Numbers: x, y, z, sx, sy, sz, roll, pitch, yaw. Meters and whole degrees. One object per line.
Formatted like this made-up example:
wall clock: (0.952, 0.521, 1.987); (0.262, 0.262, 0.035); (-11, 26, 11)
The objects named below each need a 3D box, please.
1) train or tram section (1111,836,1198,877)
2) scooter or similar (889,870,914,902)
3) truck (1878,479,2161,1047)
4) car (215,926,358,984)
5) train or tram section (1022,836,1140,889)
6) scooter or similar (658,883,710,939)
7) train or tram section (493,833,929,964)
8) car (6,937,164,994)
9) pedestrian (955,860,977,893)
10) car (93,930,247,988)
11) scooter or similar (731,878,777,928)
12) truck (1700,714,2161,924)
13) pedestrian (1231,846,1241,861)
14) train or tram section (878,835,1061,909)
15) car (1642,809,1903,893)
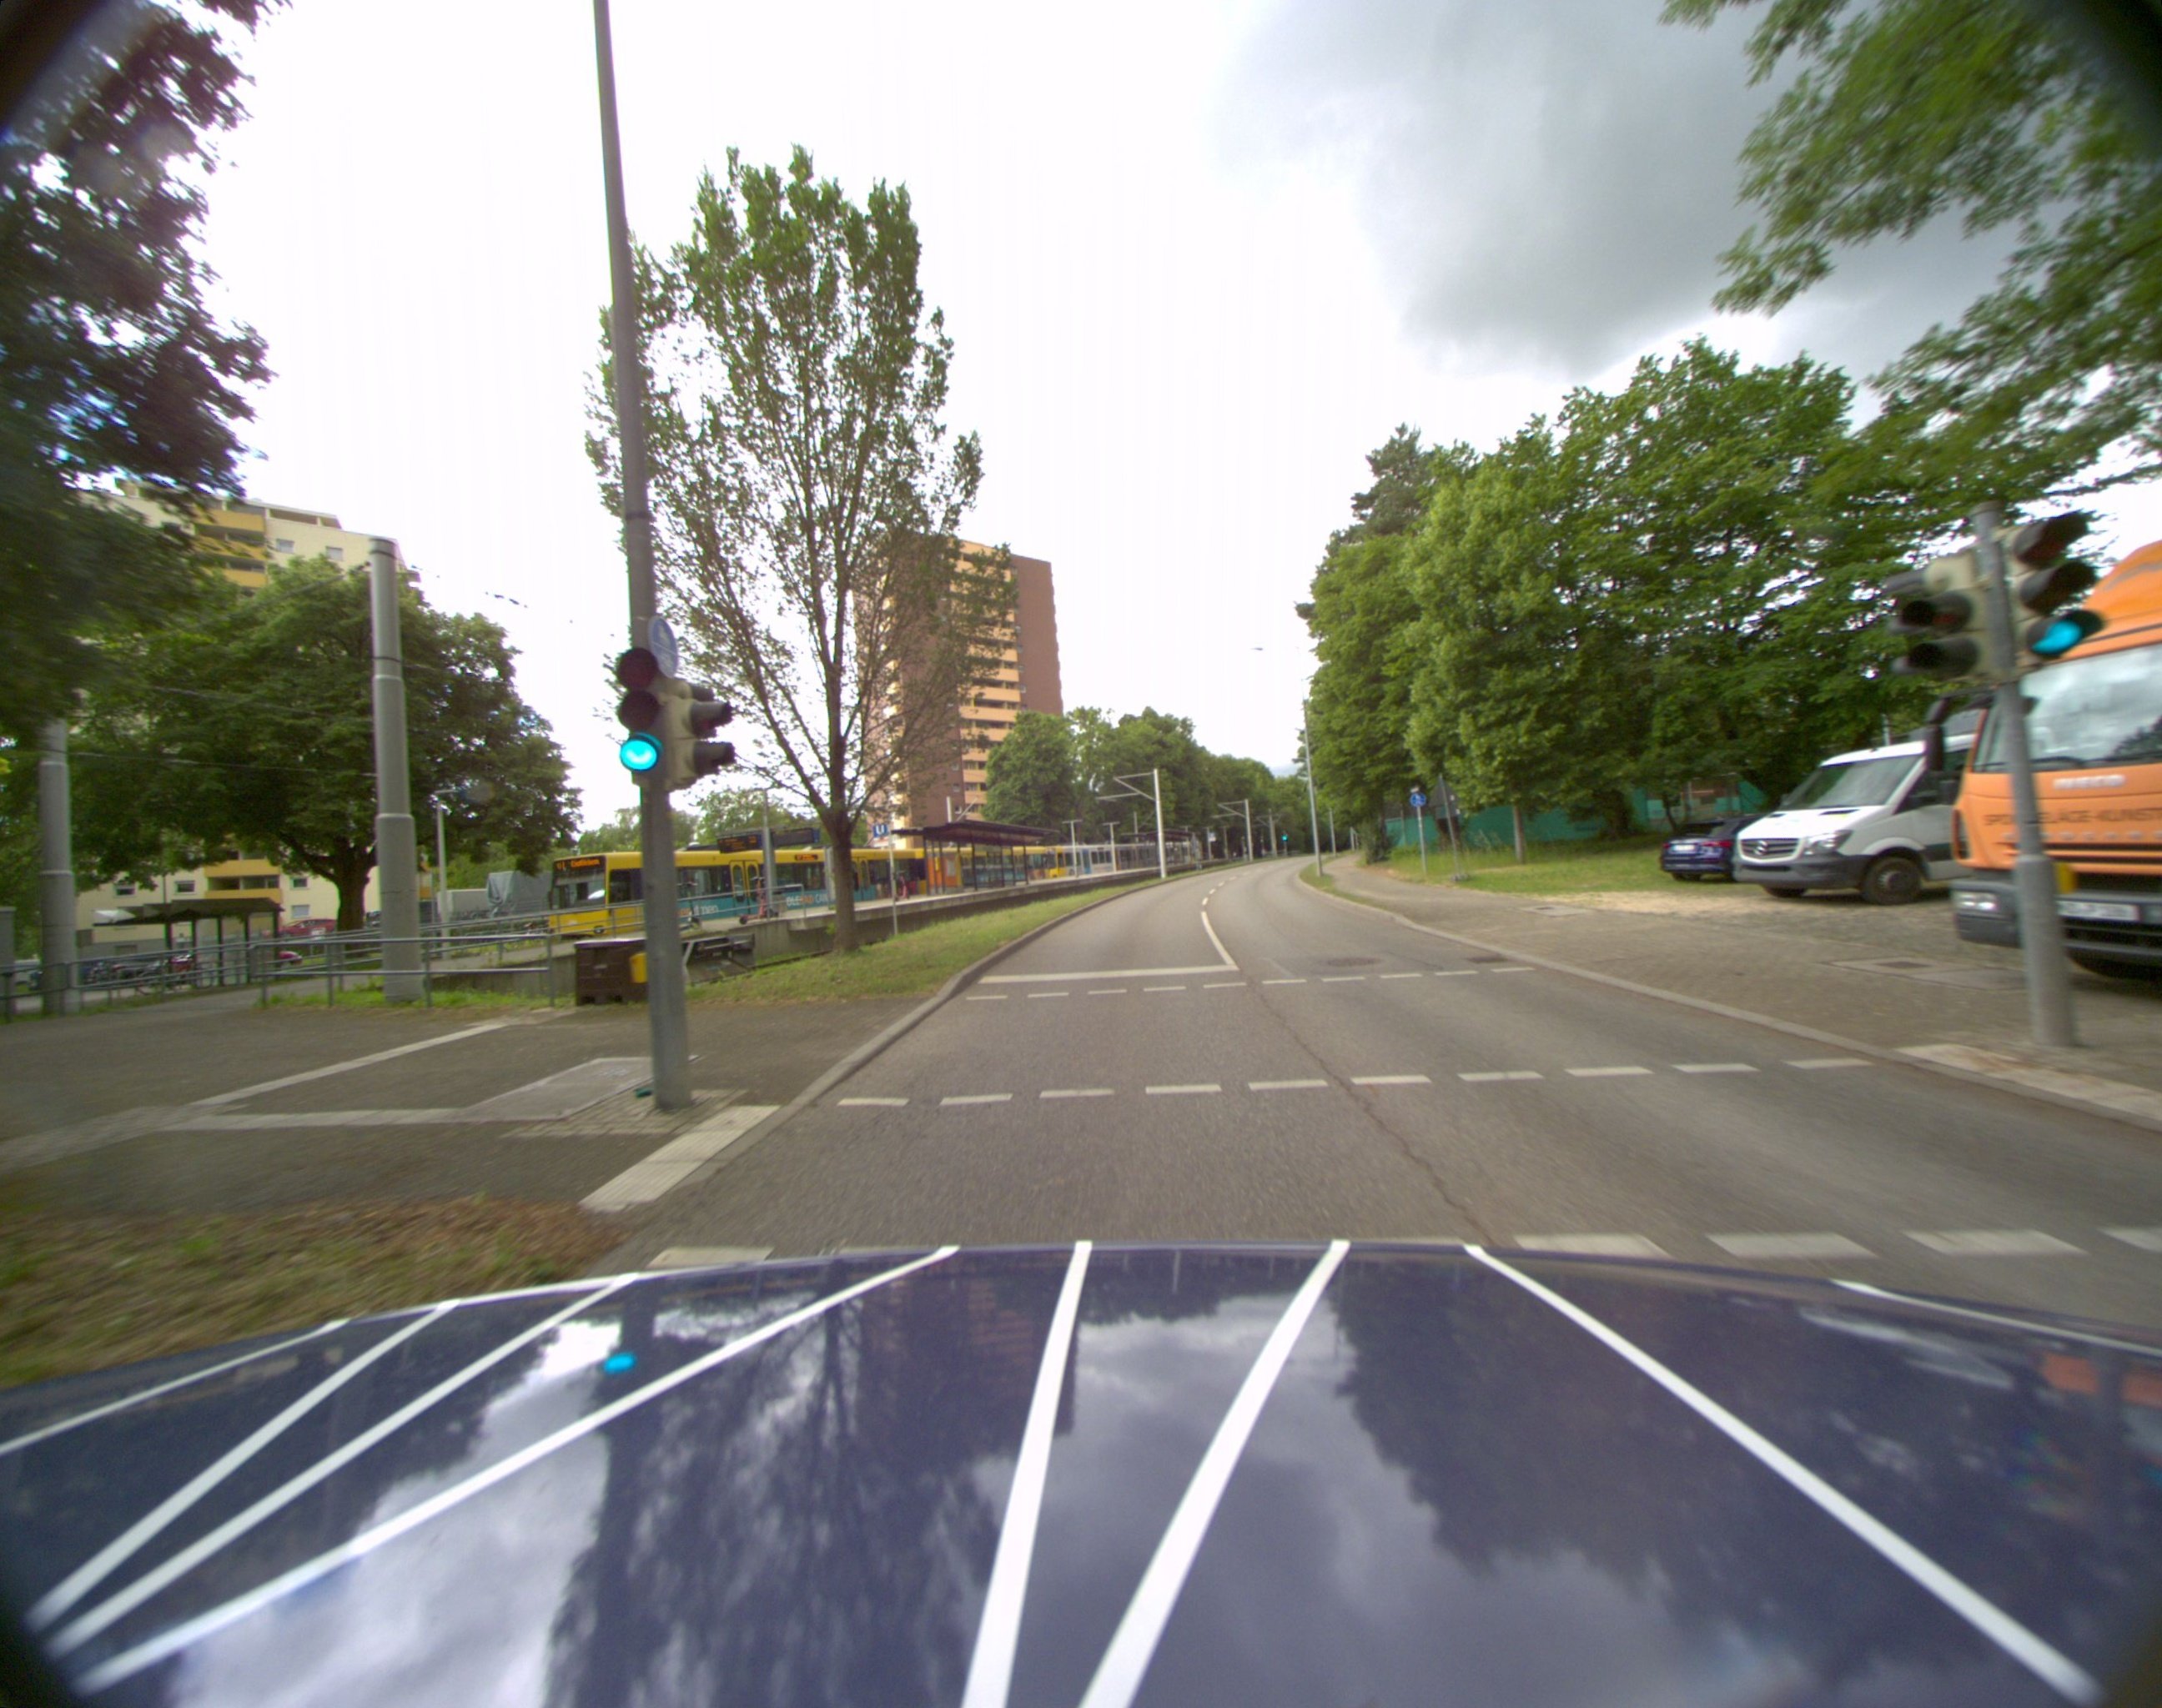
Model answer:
train or tram section: (8.654, 0.060, 85.134); (2.816, 3.714, 18.561); (-6, -1, 27)
scooter or similar: (-7.404, 1.296, 31.428); (0.368, 1.235, 1.147); (-5, 0, 18)
truck: (11.324, -0.932, 4.724); (9.251, 3.511, 2.566); (-5, 1, 5)
car: (-36.169, 4.559, 34.732); (1.901, 2.002, 4.005); (-3, 0, 19)
train or tram section: (0.621, 0.480, 67.924); (2.817, 3.775, 18.961); (-6, -1, 24)
scooter or similar: (-10.071, 1.429, 19.301); (0.430, 1.246, 1.255); (-4, 2, 7)
train or tram section: (-12.676, 1.177, 31.224); (2.817, 3.567, 19.538); (-6, -1, 19)
car: (-46.465, 5.182, 35.575); (1.901, 2.002, 4.005); (-3, 0, 19)
pedestrian: (-5.579, 1.098, 36.950); (0.623, 1.564, 0.666); (-4, 1, 36)
car: (-41.543, 4.737, 34.784); (1.901, 2.002, 4.005); (-3, 0, 19)
scooter or similar: (-8.964, 1.331, 20.881); (0.430, 1.246, 1.255); (-4, 2, 10)
truck: (13.546, -0.582, 11.457); (6.401, 2.402, 2.123); (-6, 1, 3)
pedestrian: (19.796, -0.064, 97.226); (0.985, 1.747, 0.730); (-6, -2, 17)
train or tram section: (-6.264, 0.826, 49.804); (2.817, 3.714, 19.538); (-6, -1, 19)
car: (14.464, -0.091, 16.031); (3.998, 1.319, 1.716); (-5, 3, -3)
